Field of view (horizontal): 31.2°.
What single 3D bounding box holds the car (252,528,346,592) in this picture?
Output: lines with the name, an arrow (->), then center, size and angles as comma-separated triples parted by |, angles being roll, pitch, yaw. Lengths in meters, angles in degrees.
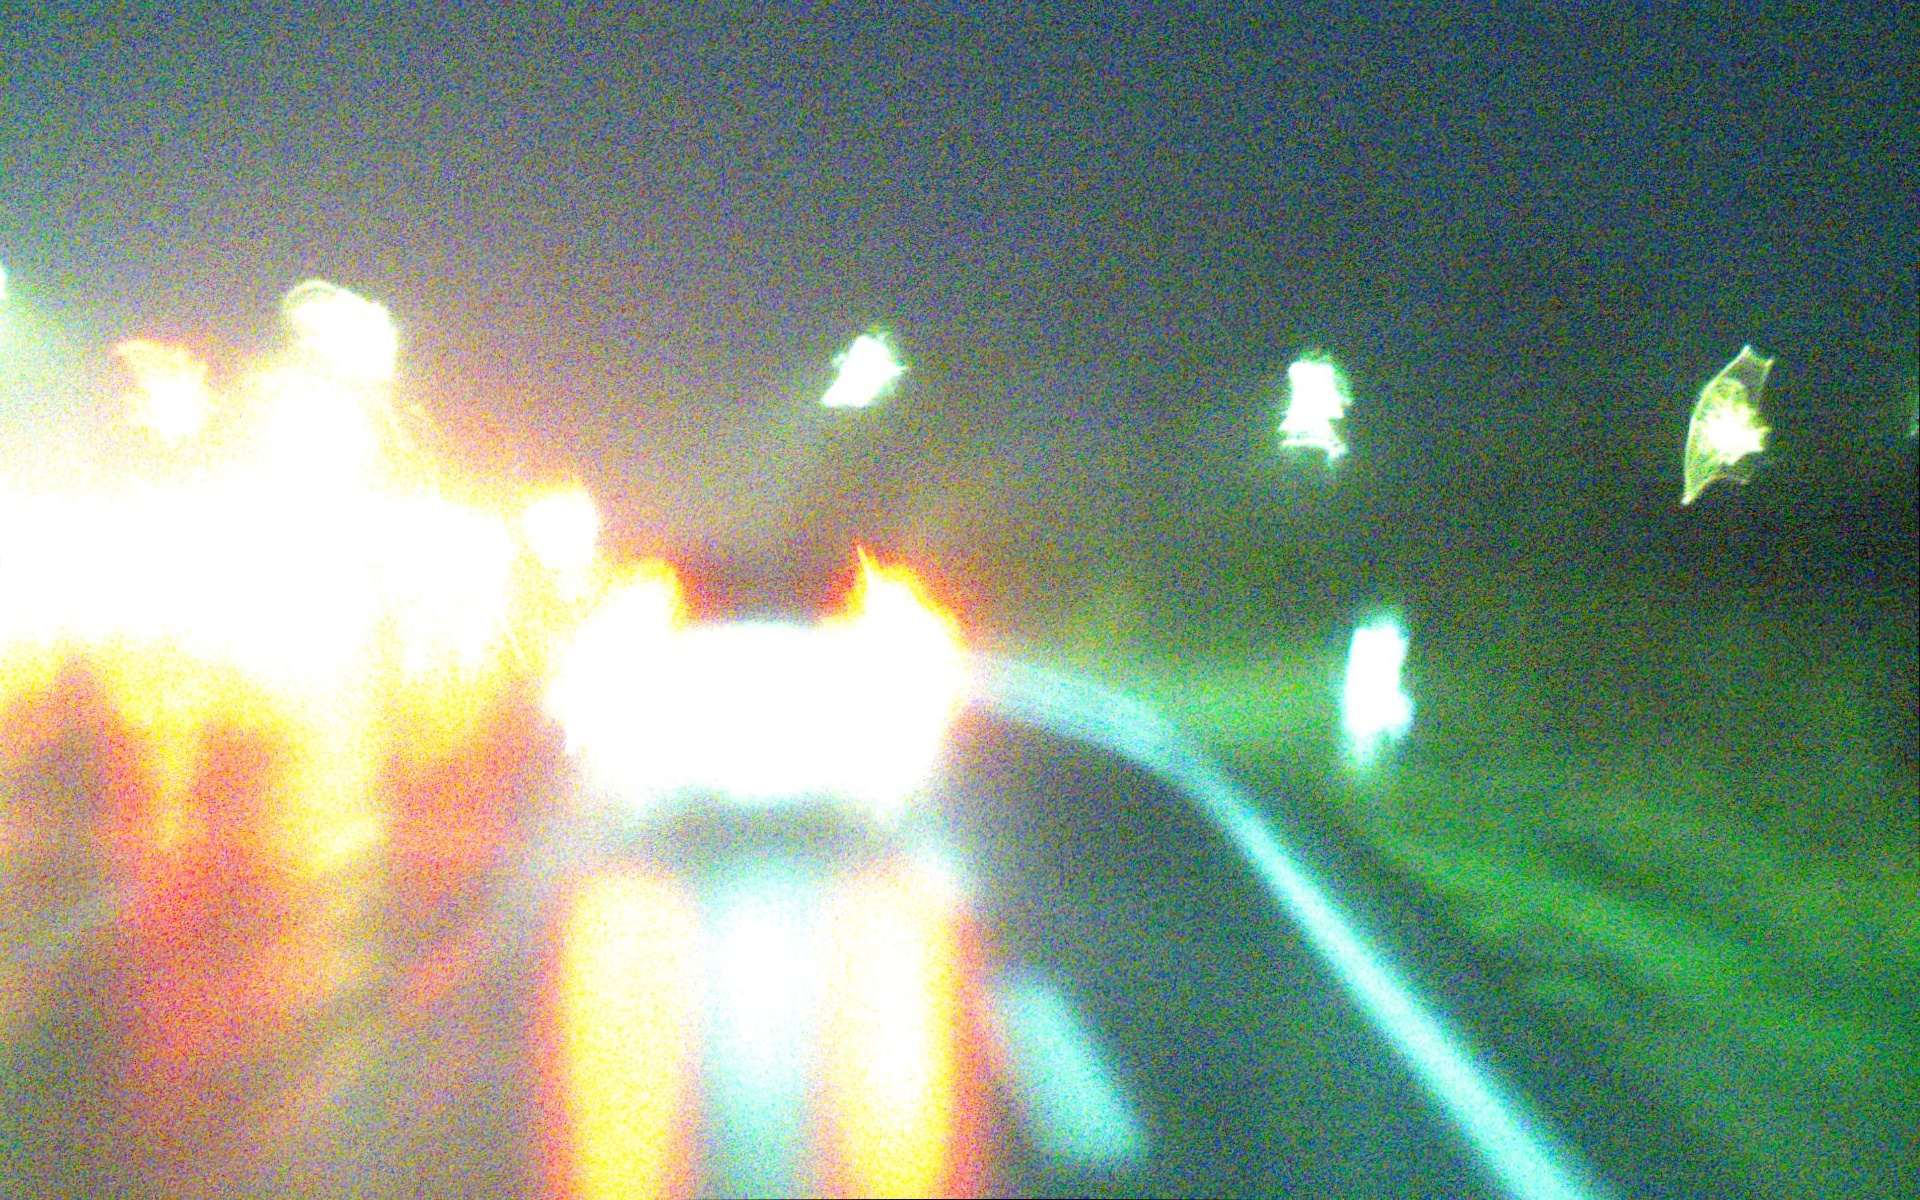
car -> -18.218, -1.120, 94.581 | 1.993, 1.622, 4.986 | -2, 2, -17

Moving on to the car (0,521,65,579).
car -> -28.329, -1.532, 104.349 | 1.993, 1.622, 4.986 | -2, 2, -17

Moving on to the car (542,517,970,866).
car -> -0.984, 0.438, 18.704 | 1.993, 1.622, 4.984 | 1, 0, -1

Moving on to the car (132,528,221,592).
car -> -21.542, -1.132, 94.414 | 1.993, 1.622, 4.986 | -2, 2, -17
